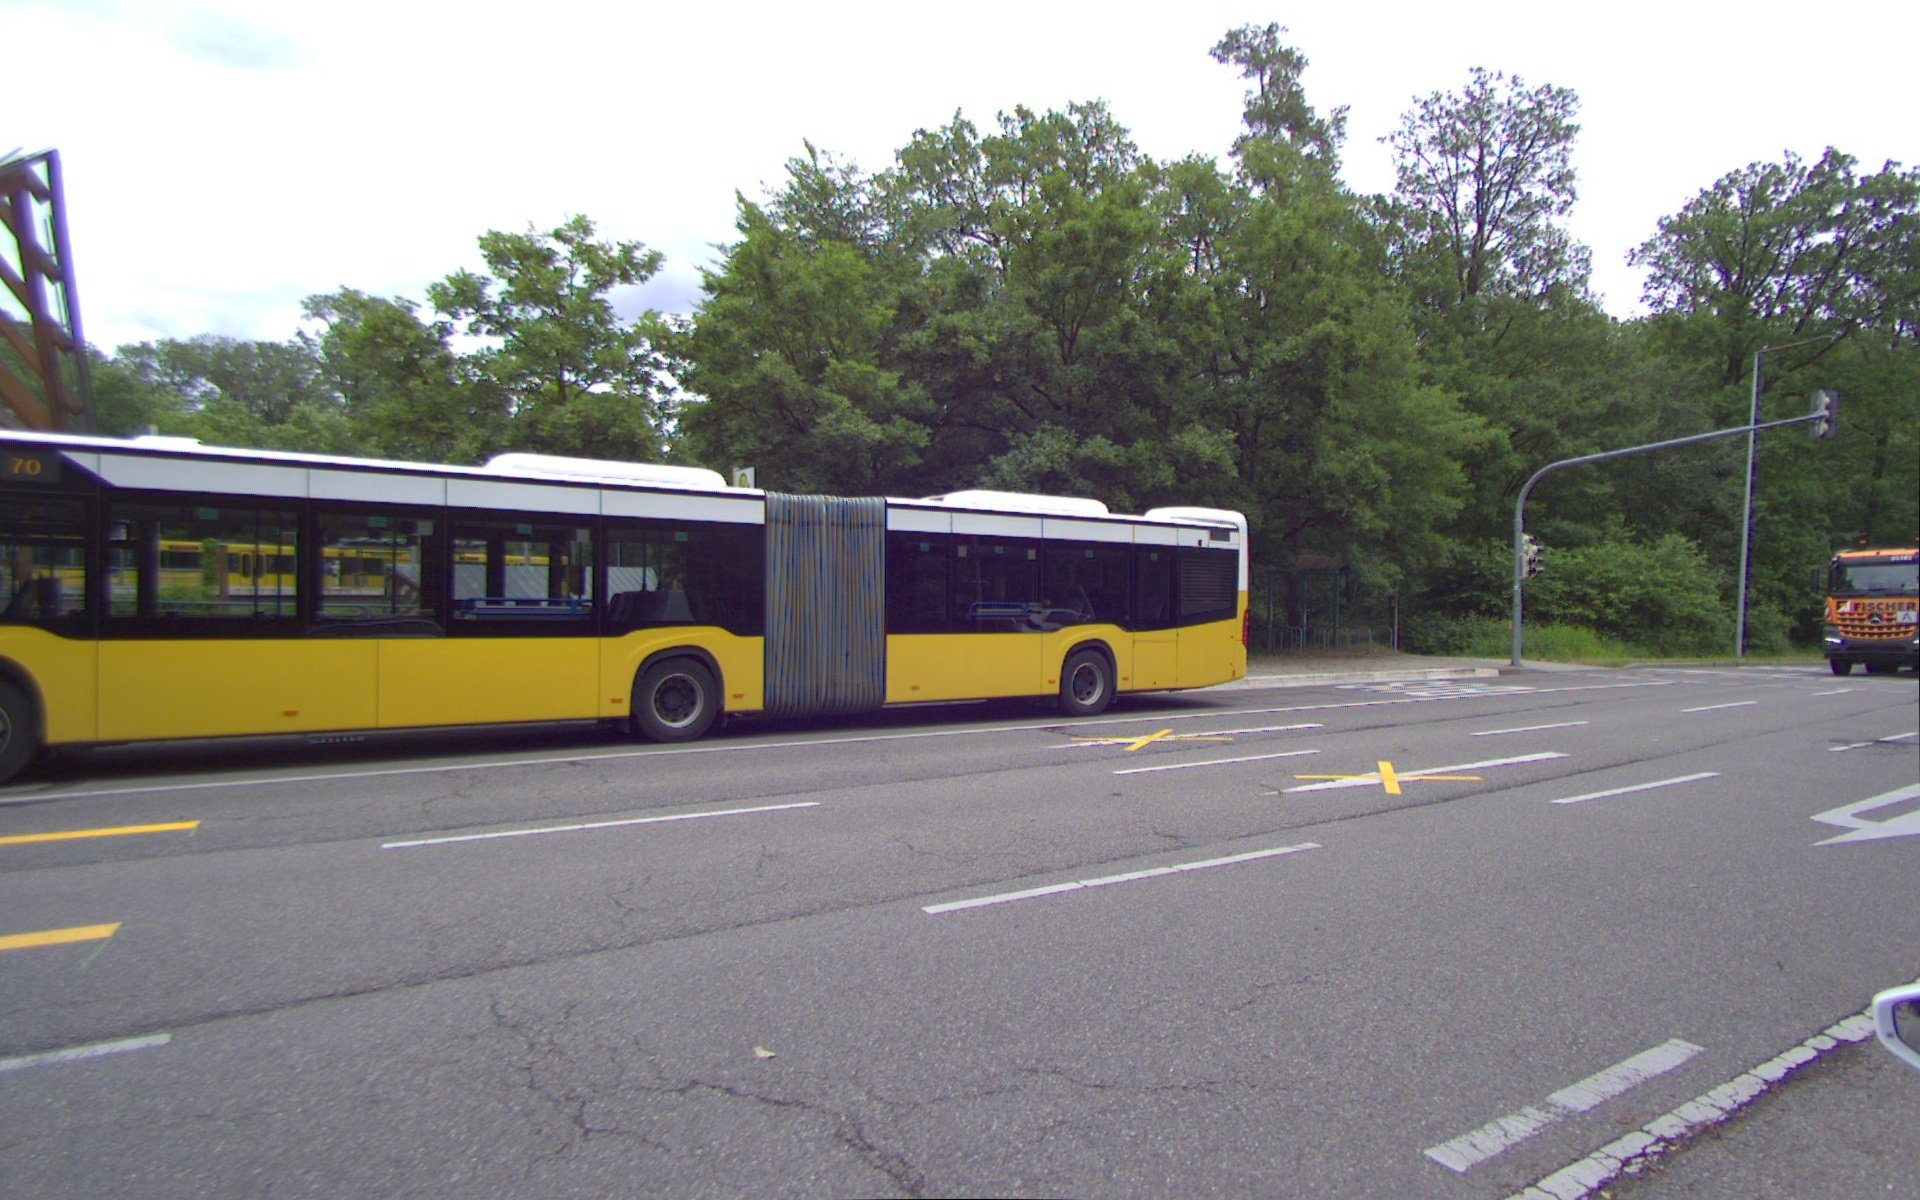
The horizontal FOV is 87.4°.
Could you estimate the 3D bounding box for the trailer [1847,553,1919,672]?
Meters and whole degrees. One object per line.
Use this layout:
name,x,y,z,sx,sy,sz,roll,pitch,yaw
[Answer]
trailer,30.398,0.476,31.181,8.491,3.362,2.719,2,-2,-38

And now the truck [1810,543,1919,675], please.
truck,26.663,0.339,28.293,7.095,3.362,2.719,2,-2,-38

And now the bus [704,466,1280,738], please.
bus,0.790,0.054,15.240,8.598,3.169,2.883,1,0,-32

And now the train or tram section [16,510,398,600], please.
train or tram section,-43.675,-2.571,60.180,3.520,4.595,18.657,2,2,27

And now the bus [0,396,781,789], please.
bus,-6.919,-0.049,10.334,9.651,3.169,2.883,1,0,-32
